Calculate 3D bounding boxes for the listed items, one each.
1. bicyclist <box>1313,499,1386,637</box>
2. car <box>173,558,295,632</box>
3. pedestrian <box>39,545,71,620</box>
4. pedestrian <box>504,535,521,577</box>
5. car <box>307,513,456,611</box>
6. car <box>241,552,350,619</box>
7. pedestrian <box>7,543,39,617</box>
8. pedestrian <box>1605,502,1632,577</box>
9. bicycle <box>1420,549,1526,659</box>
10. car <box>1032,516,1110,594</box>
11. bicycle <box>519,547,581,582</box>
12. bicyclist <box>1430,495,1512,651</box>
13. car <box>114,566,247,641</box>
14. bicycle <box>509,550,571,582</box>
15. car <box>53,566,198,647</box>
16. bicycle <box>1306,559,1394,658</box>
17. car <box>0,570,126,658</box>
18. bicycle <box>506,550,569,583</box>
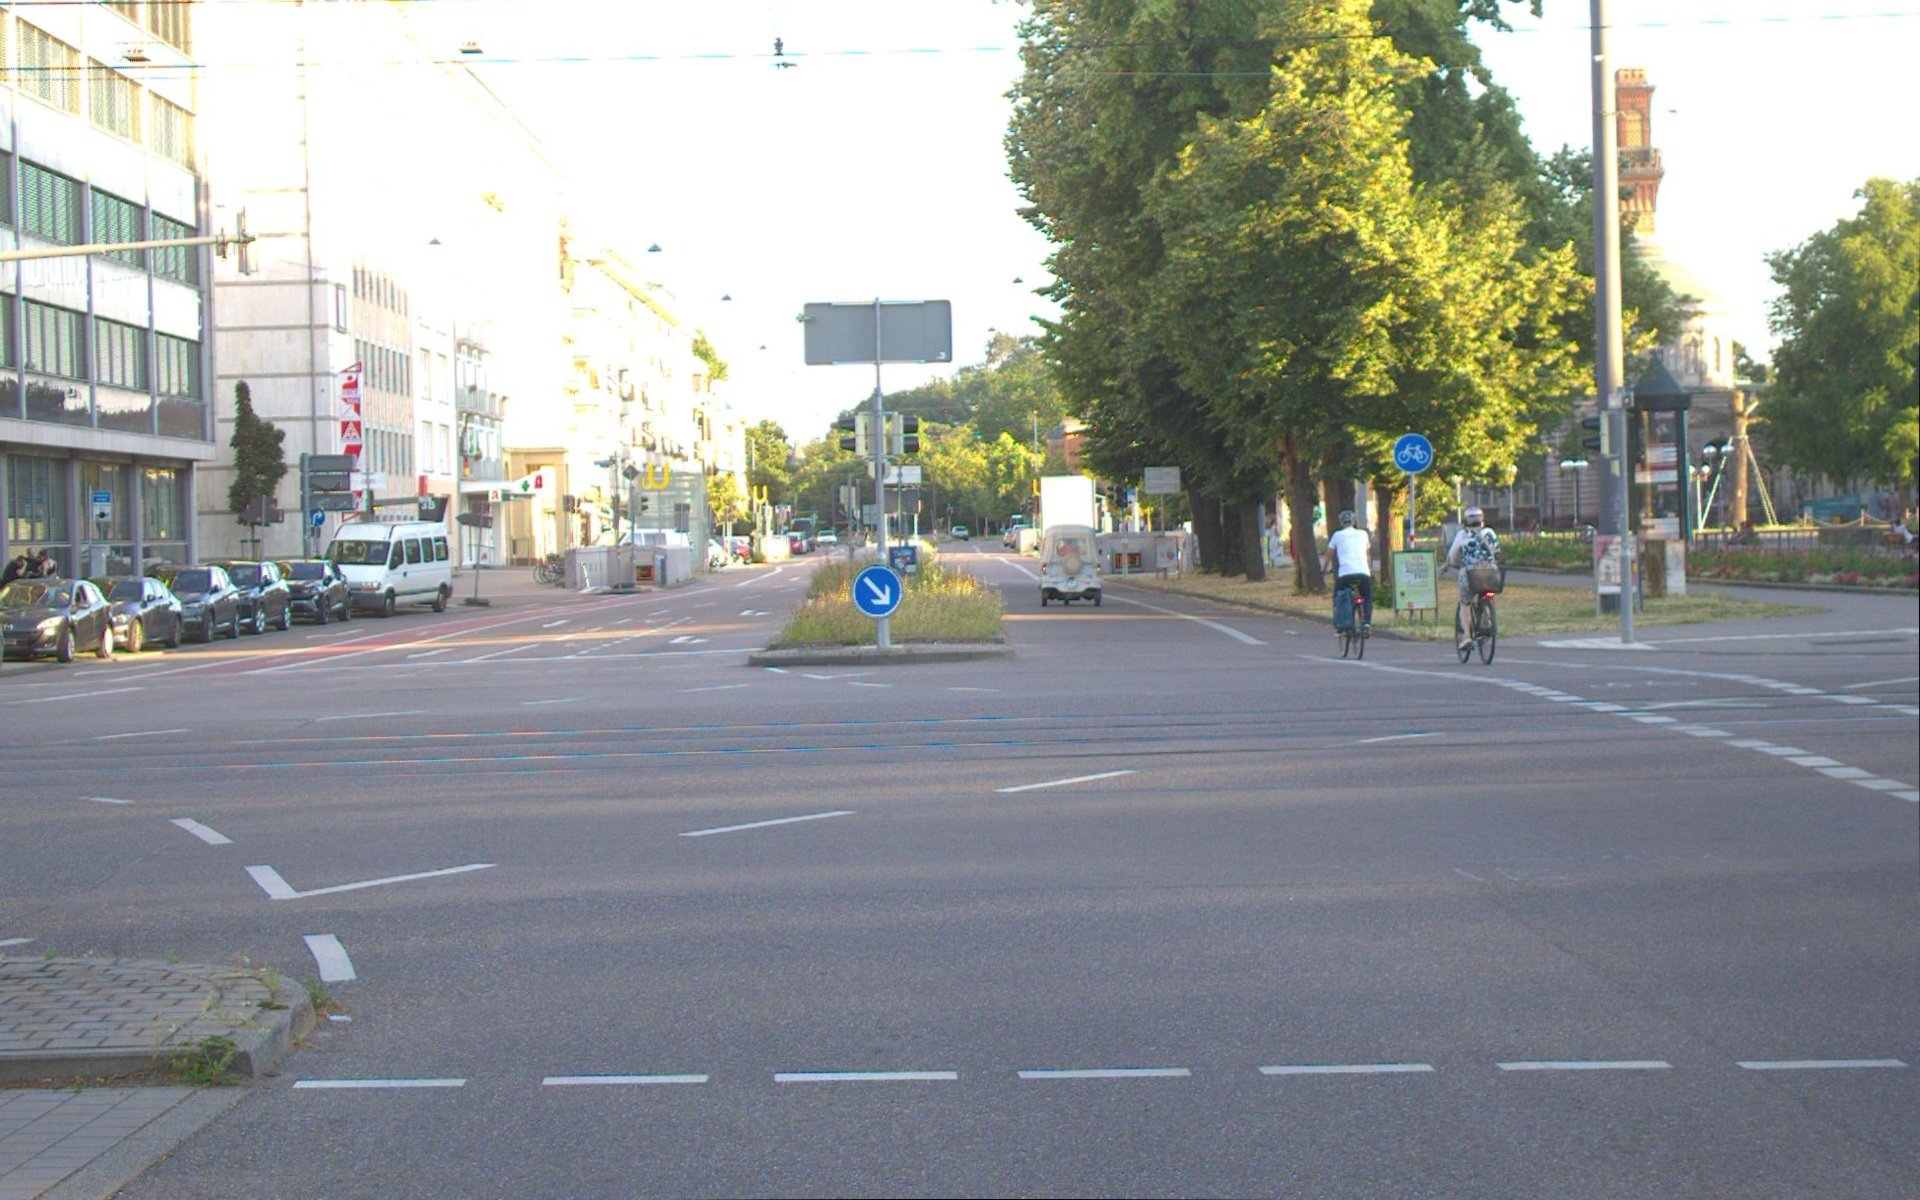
[{"bbox_3d":[4.769,-0.396,42.123,0.746,1.658,0.873,-2,1,-1],"label":"bicyclist"},{"bbox_3d":[-16.556,-0.144,78.561,1.920,1.563,4.000,-2,1,-1],"label":"car"},{"bbox_3d":[-20.559,-0.405,78.096,0.551,1.673,0.500,-2,1,-1],"label":"pedestrian"},{"bbox_3d":[-21.487,-2.120,164.984,0.680,2.007,0.545,-2,1,0],"label":"pedestrian"},{"bbox_3d":[-15.297,-1.047,91.237,2.002,2.469,5.865,-1,1,10],"label":"car"},{"bbox_3d":[-16.357,-0.378,84.787,1.920,1.563,4.000,-2,1,-1],"label":"car"},{"bbox_3d":[-21.326,-0.453,78.236,0.551,1.673,0.500,-2,1,-1],"label":"pedestrian"},{"bbox_3d":[14.703,-1.356,76.747,0.460,1.651,0.567,-1,1,-1],"label":"pedestrian"},{"bbox_3d":[5.659,0.026,38.040,0.746,1.140,2.505,-2,1,-1],"label":"bicycle"},{"bbox_3d":[2.412,-1.002,75.401,1.408,1.636,4.000,-2,1,-2],"label":"car"},{"bbox_3d":[-15.385,-1.324,128.906,2.205,1.232,0.839,-2,1,-2],"label":"bicycle"},{"bbox_3d":[5.647,-0.303,38.043,0.746,1.685,0.799,-2,1,-1],"label":"bicyclist"},{"bbox_3d":[-16.578,0.059,73.259,1.920,1.459,4.000,-2,1,-1],"label":"car"},{"bbox_3d":[-15.503,-1.260,126.875,2.205,1.108,0.689,-2,1,-2],"label":"bicycle"},{"bbox_3d":[-16.574,0.107,68.445,1.920,1.459,4.000,-2,1,-1],"label":"car"},{"bbox_3d":[4.779,0.090,42.280,0.746,1.140,2.505,-2,1,-1],"label":"bicycle"},{"bbox_3d":[-16.485,0.237,61.949,1.920,1.459,4.103,-2,1,-1],"label":"car"},{"bbox_3d":[-15.407,-1.224,125.485,2.205,1.108,0.619,-2,1,-2],"label":"bicycle"}]
